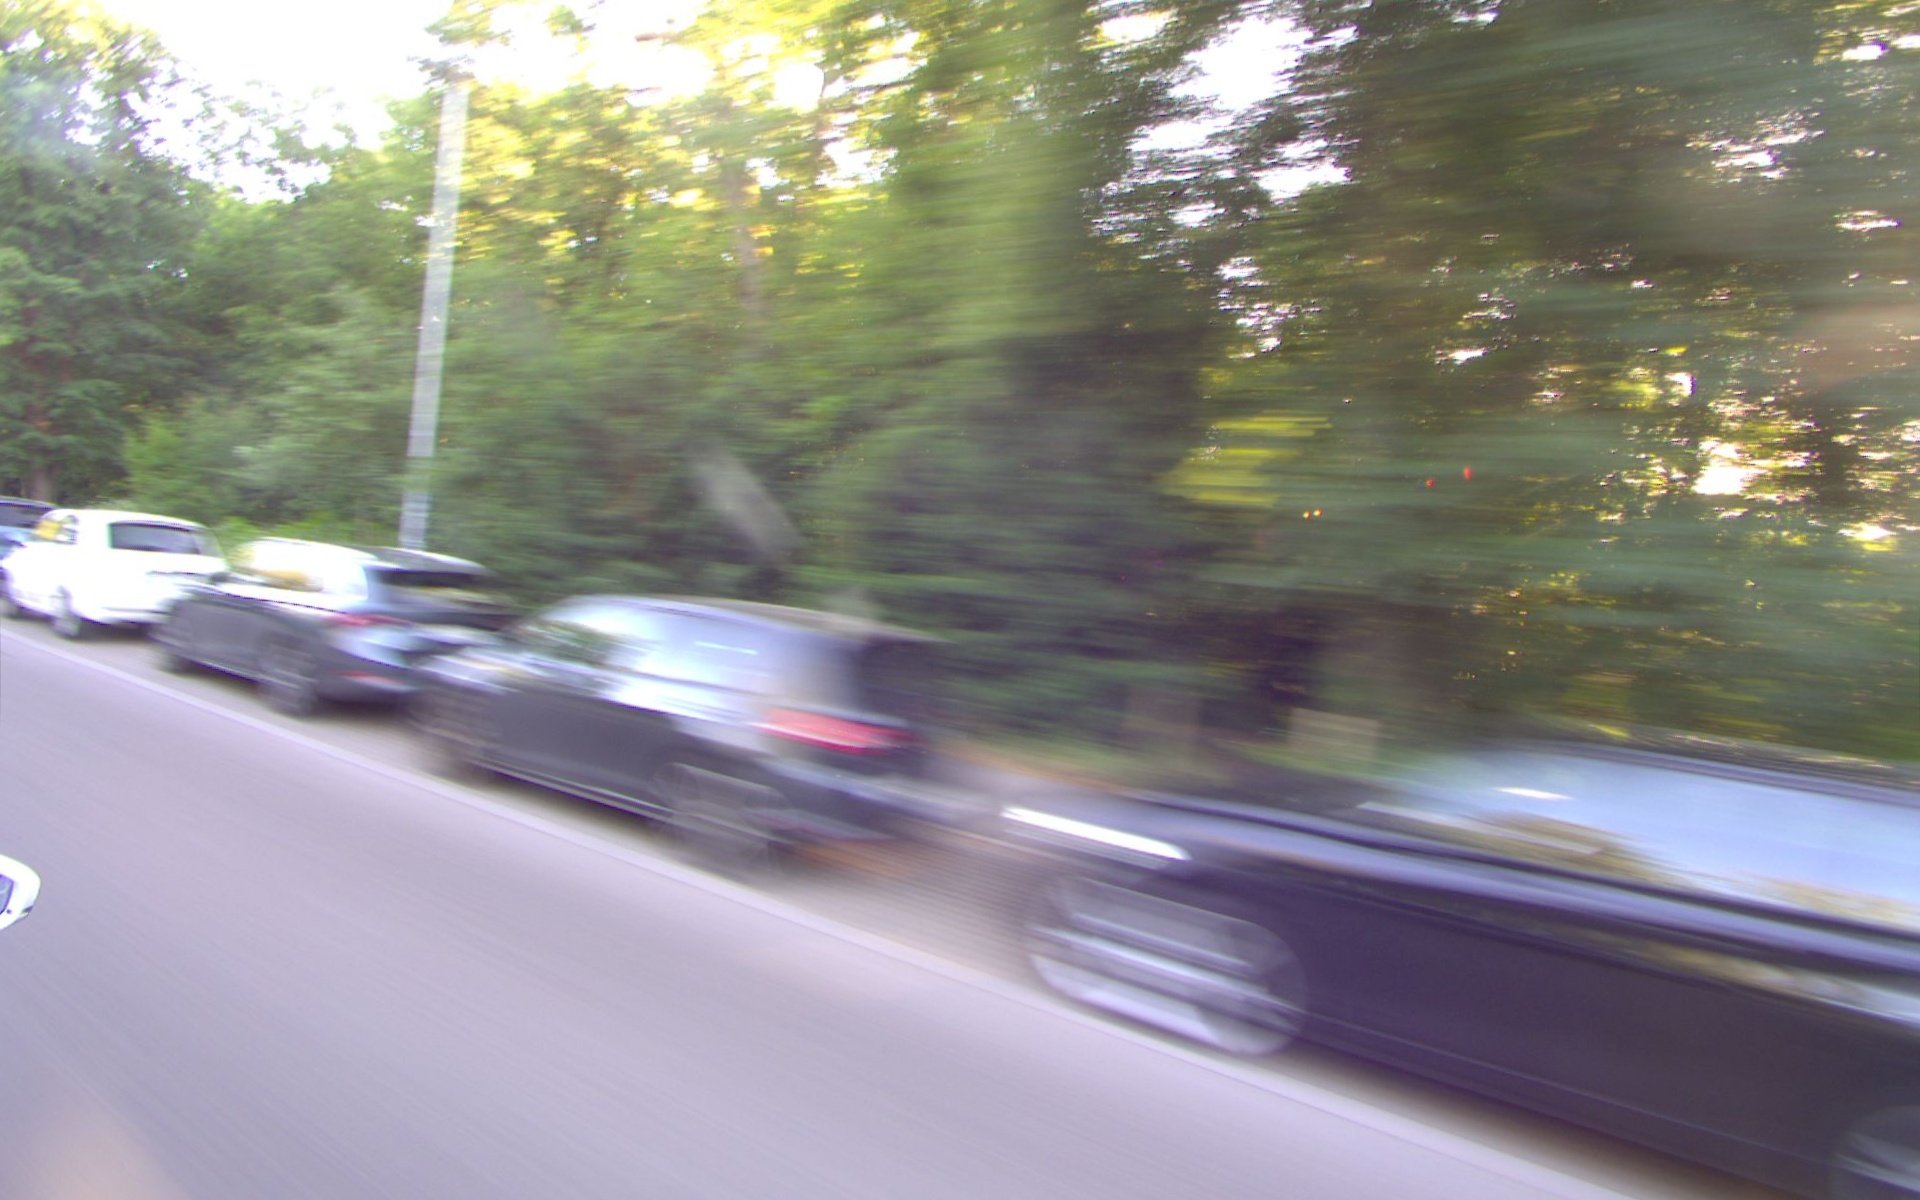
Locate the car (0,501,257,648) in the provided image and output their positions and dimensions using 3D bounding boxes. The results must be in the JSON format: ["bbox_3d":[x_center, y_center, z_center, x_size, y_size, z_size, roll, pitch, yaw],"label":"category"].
[{"bbox_3d":[-10.767,-0.350,12.823,3.630,1.482,1.678,6,0,34],"label":"car"}]

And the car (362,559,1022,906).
[{"bbox_3d":[-1.978,0.664,6.855,4.414,1.429,1.719,6,0,33],"label":"car"}]

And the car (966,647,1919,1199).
[{"bbox_3d":[2.409,1.166,3.917,4.412,1.429,1.720,6,0,31],"label":"car"}]

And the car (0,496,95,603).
[{"bbox_3d":[-15.503,-0.924,15.966,4.002,1.482,1.678,6,0,35],"label":"car"}]

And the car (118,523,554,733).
[{"bbox_3d":[-6.243,0.172,9.835,4.828,1.429,1.719,6,0,34],"label":"car"}]
